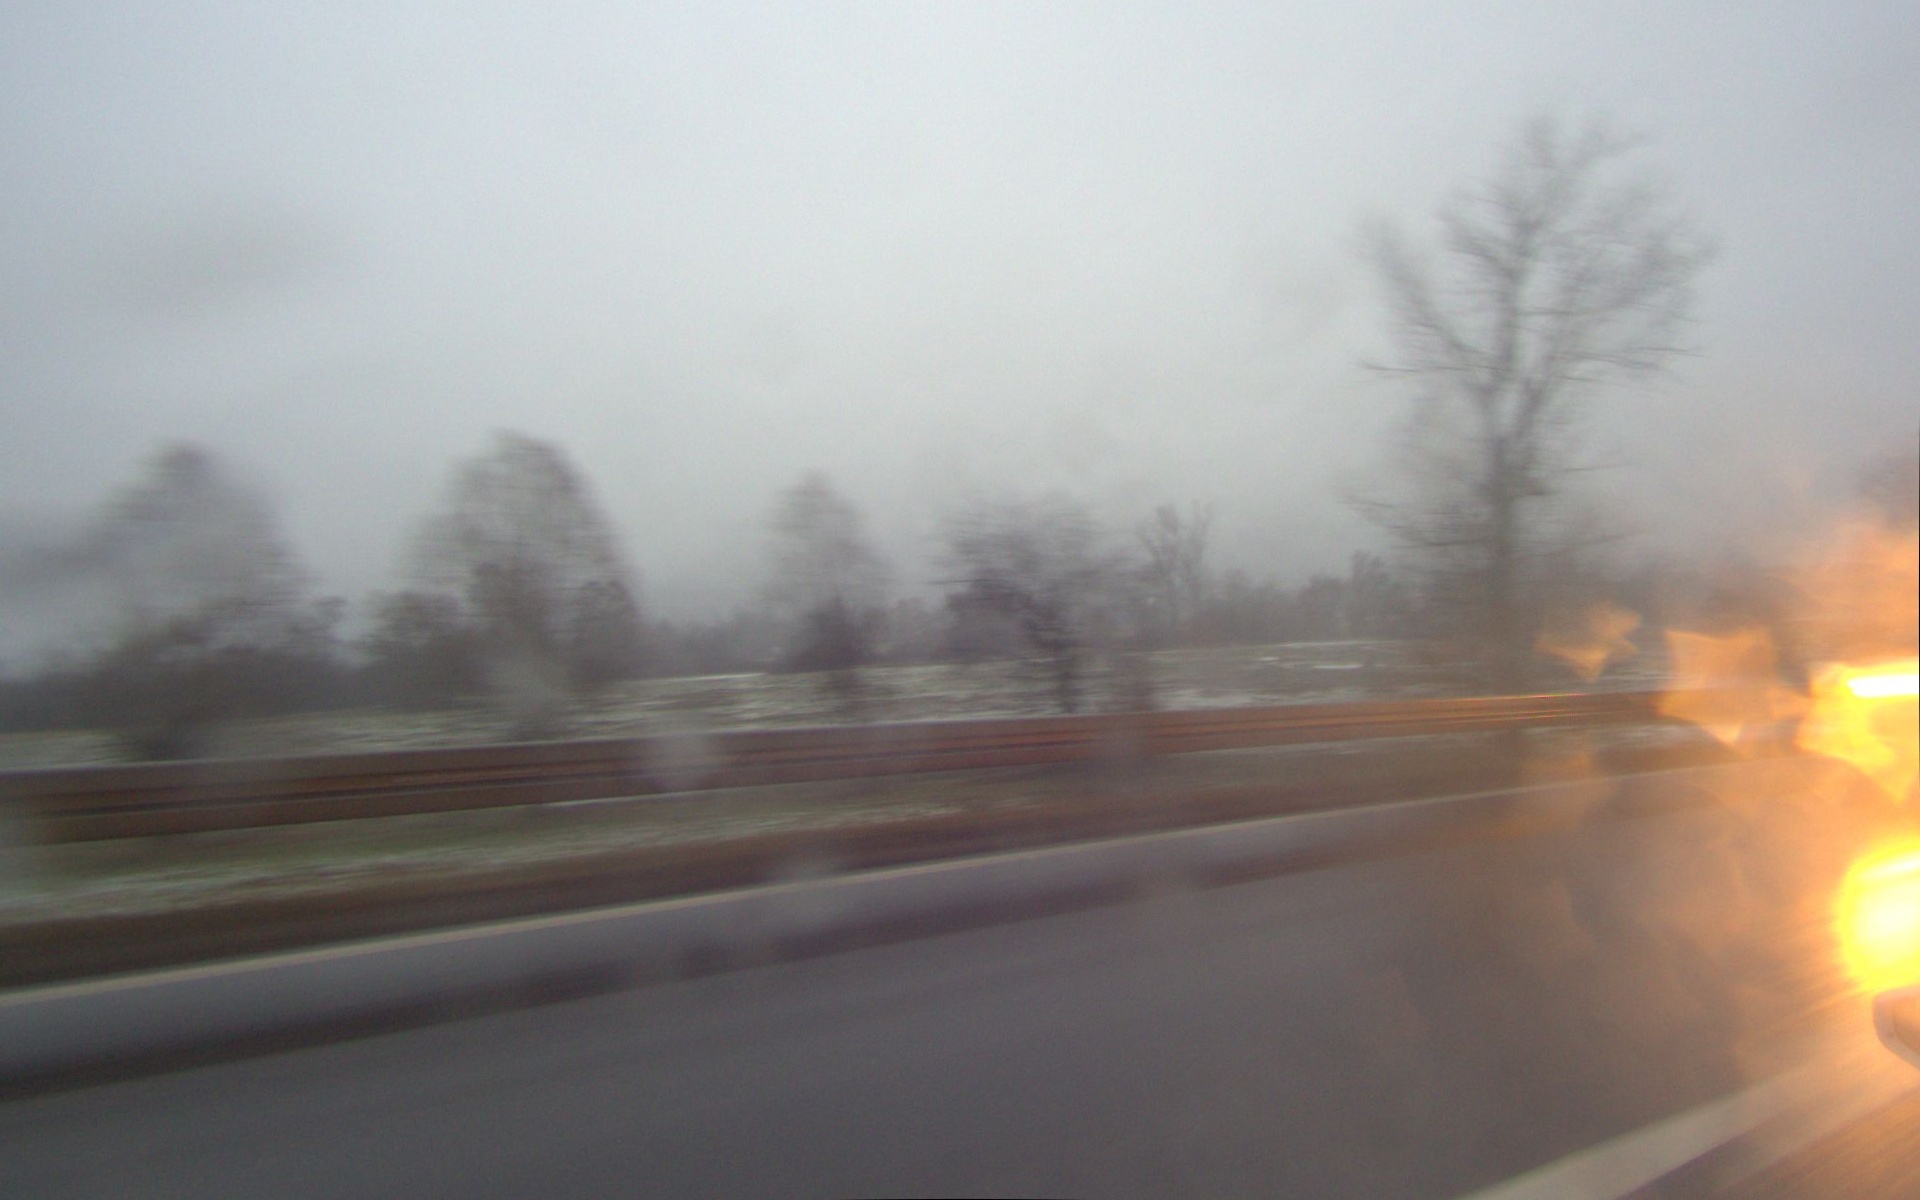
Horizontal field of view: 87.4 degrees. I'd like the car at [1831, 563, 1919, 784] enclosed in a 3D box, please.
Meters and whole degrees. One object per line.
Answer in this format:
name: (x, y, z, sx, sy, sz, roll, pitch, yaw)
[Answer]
car: (10.551, 0.644, 9.490, 4.943, 1.888, 1.876, 1, -1, -28)
